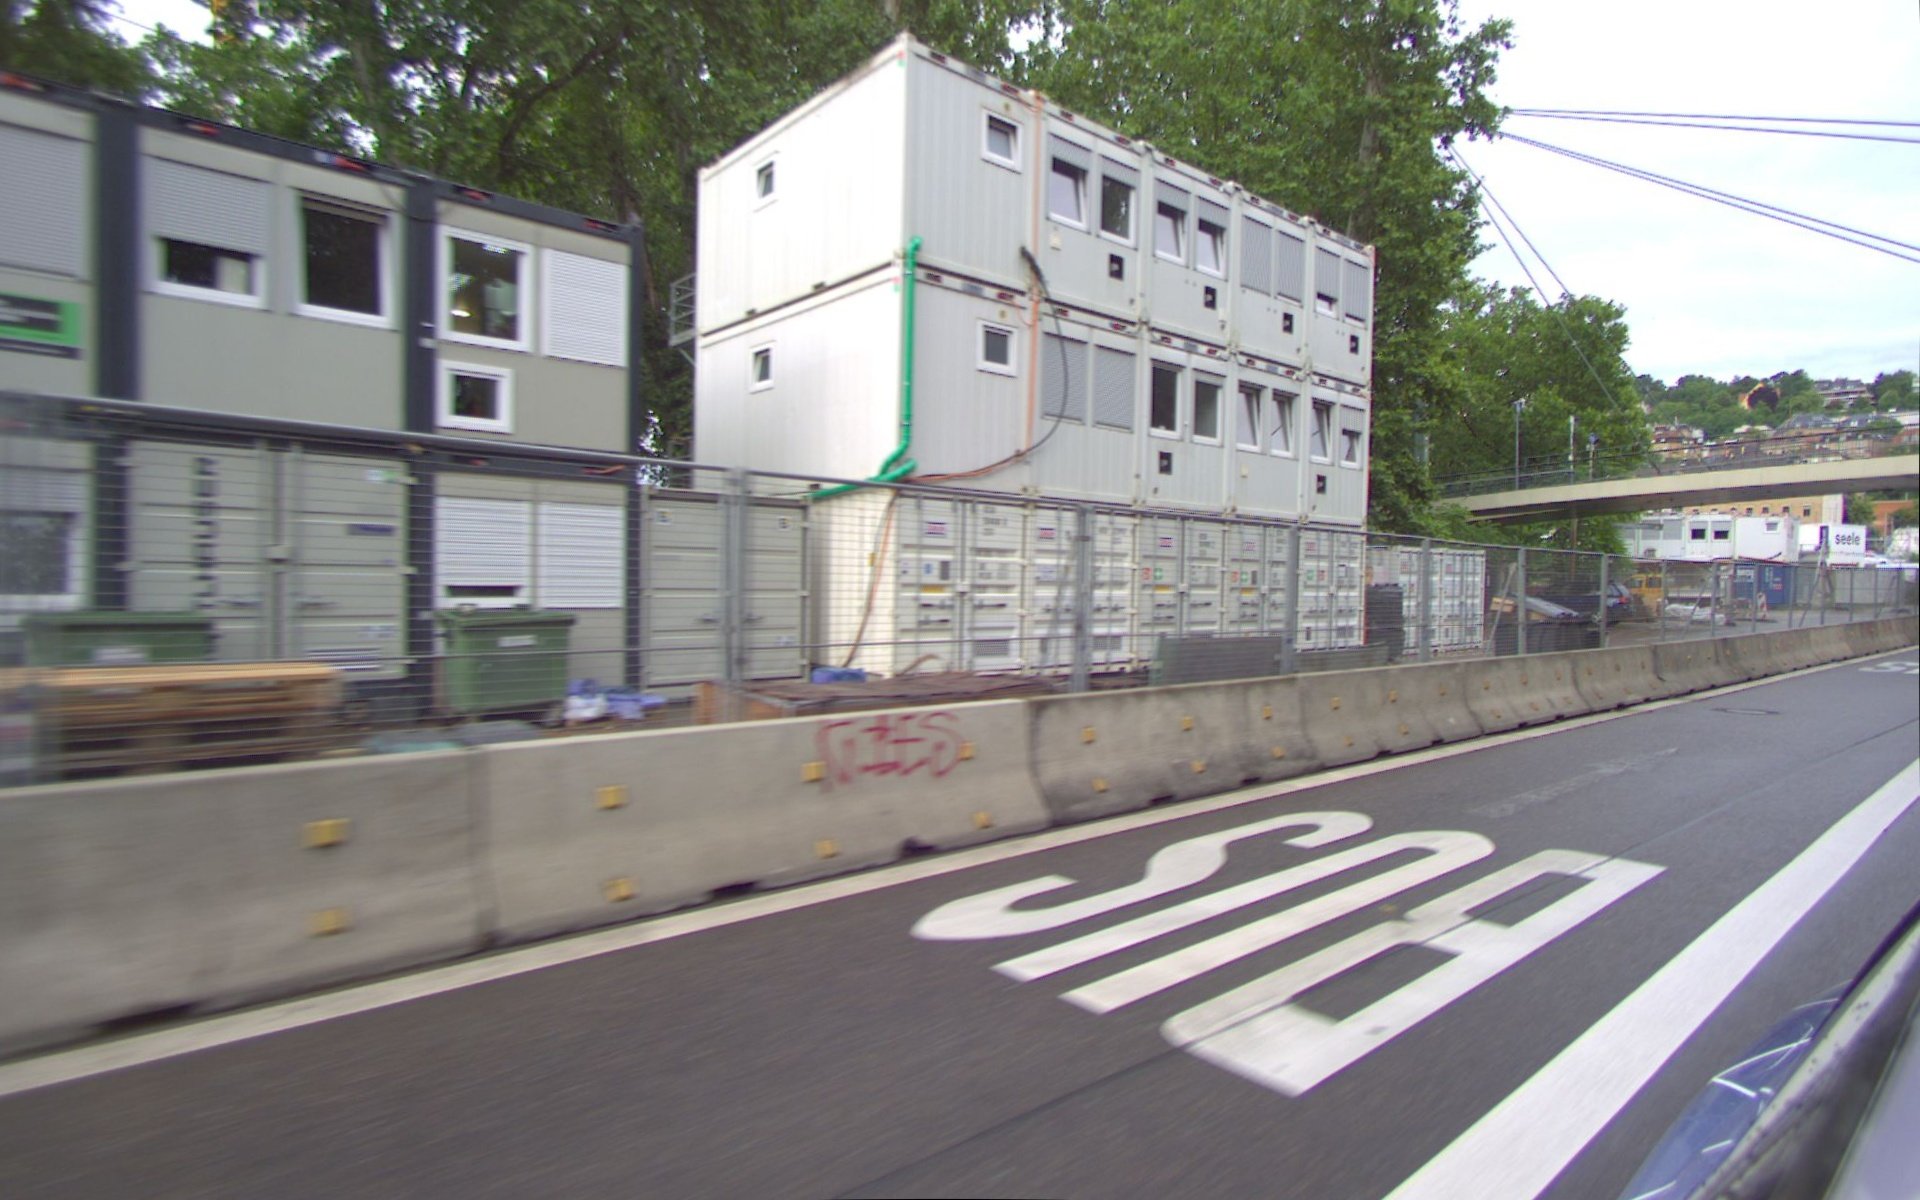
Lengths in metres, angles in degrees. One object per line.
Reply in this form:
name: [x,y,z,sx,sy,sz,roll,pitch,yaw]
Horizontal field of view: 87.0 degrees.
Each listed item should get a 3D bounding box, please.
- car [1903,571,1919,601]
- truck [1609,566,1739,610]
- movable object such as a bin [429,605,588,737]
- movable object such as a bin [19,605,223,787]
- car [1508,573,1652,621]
car: [61.373,-0.891,64.382,1.852,1.501,3.941,4,8,44]
truck: [36.707,-0.677,52.150,2.371,2.038,5.156,-4,4,-45]
movable object such as a bin: [-4.756,0.695,10.652,1.218,1.136,1.250,-3,5,-40]
movable object such as a bin: [-7.079,0.737,8.591,1.218,1.251,1.250,-3,5,-40]
car: [24.405,-0.168,39.916,1.967,1.749,4.503,-2,2,-43]
